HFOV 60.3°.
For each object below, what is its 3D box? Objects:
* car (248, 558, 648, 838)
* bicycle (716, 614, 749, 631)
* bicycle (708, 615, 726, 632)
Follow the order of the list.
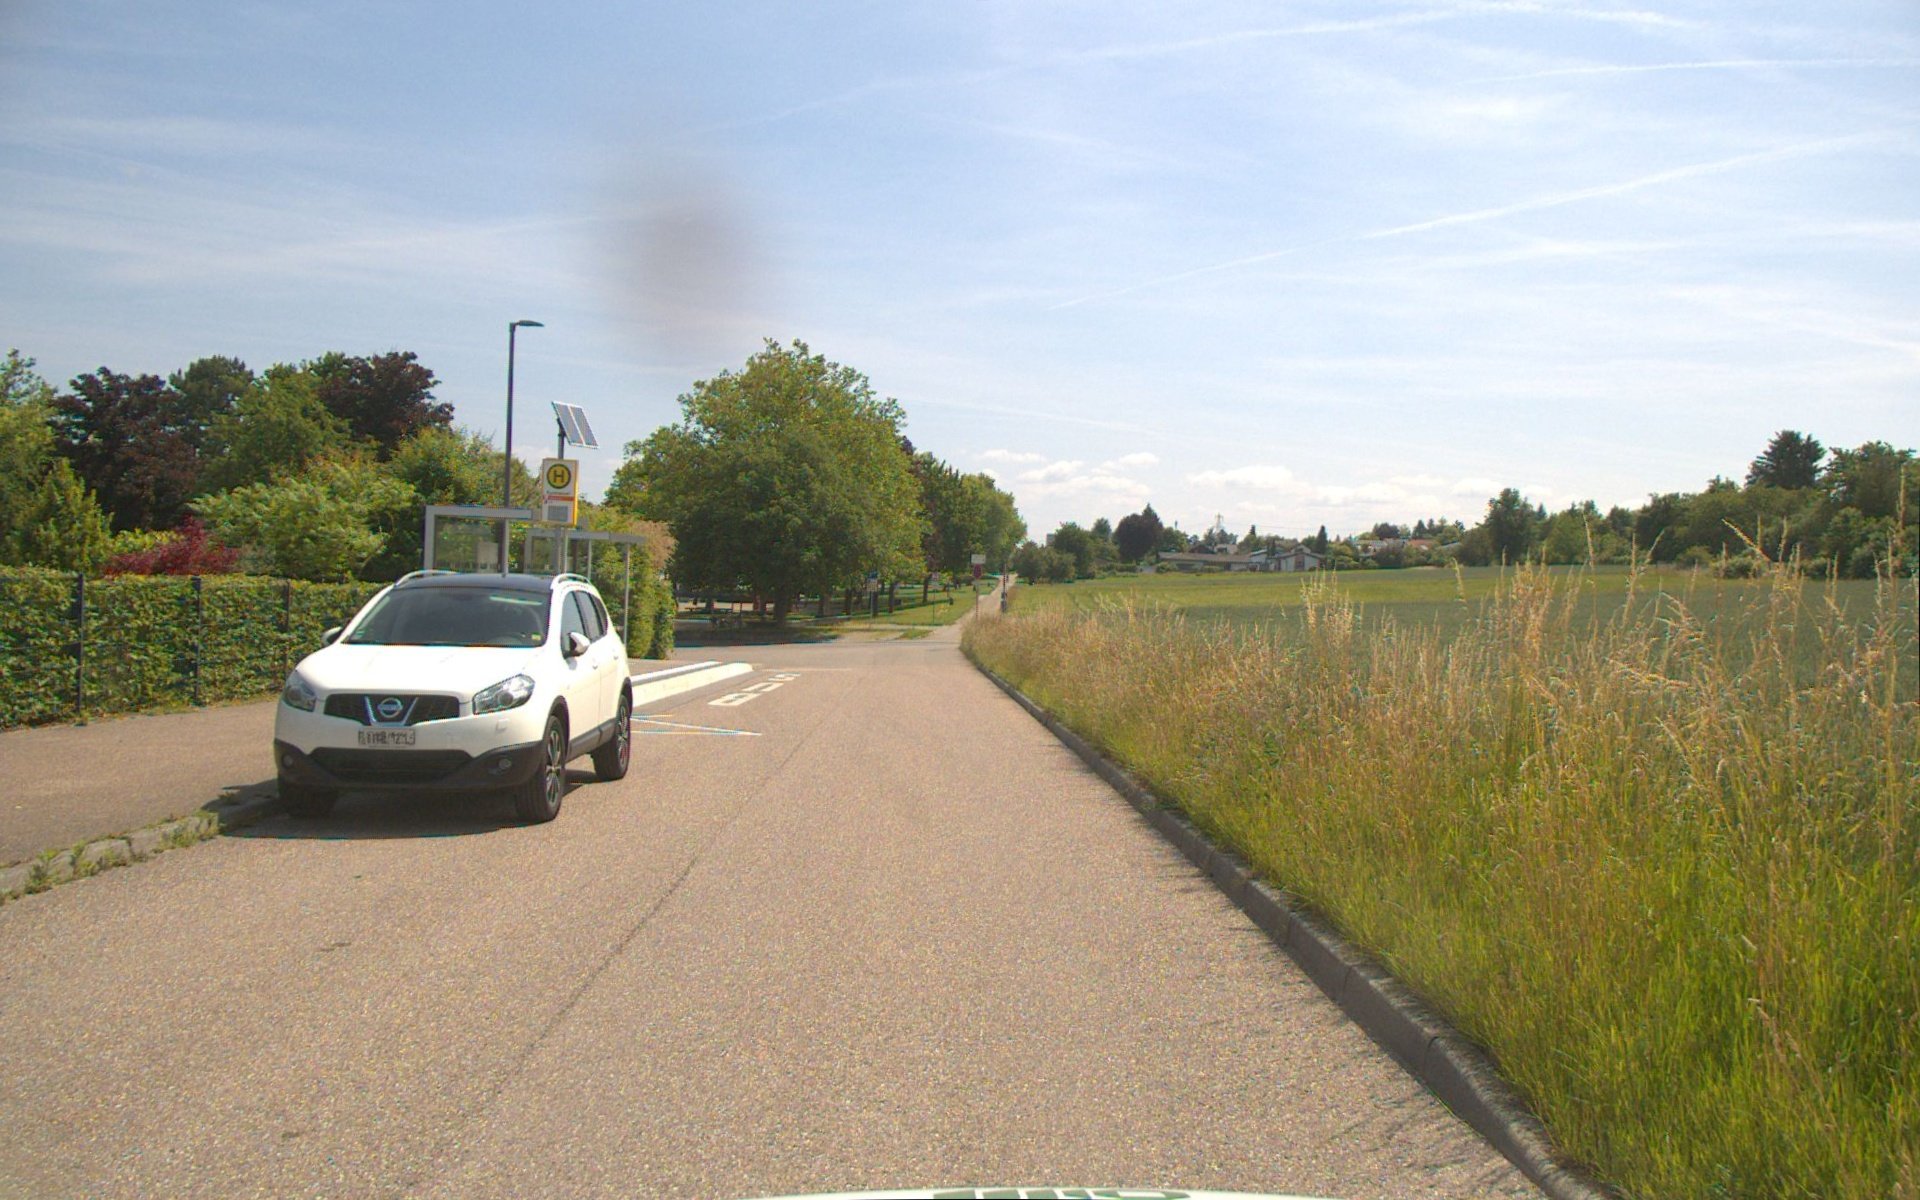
[{"bbox_3d":[-3.490,0.606,12.141,1.699,1.662,4.350,1,0,-2],"label":"car"},{"bbox_3d":[-14.465,1.421,105.237,2.023,1.057,0.571,0,0,-7],"label":"bicycle"},{"bbox_3d":[-15.172,1.474,103.263,0.582,1.057,1.894,0,0,9],"label":"bicycle"}]
